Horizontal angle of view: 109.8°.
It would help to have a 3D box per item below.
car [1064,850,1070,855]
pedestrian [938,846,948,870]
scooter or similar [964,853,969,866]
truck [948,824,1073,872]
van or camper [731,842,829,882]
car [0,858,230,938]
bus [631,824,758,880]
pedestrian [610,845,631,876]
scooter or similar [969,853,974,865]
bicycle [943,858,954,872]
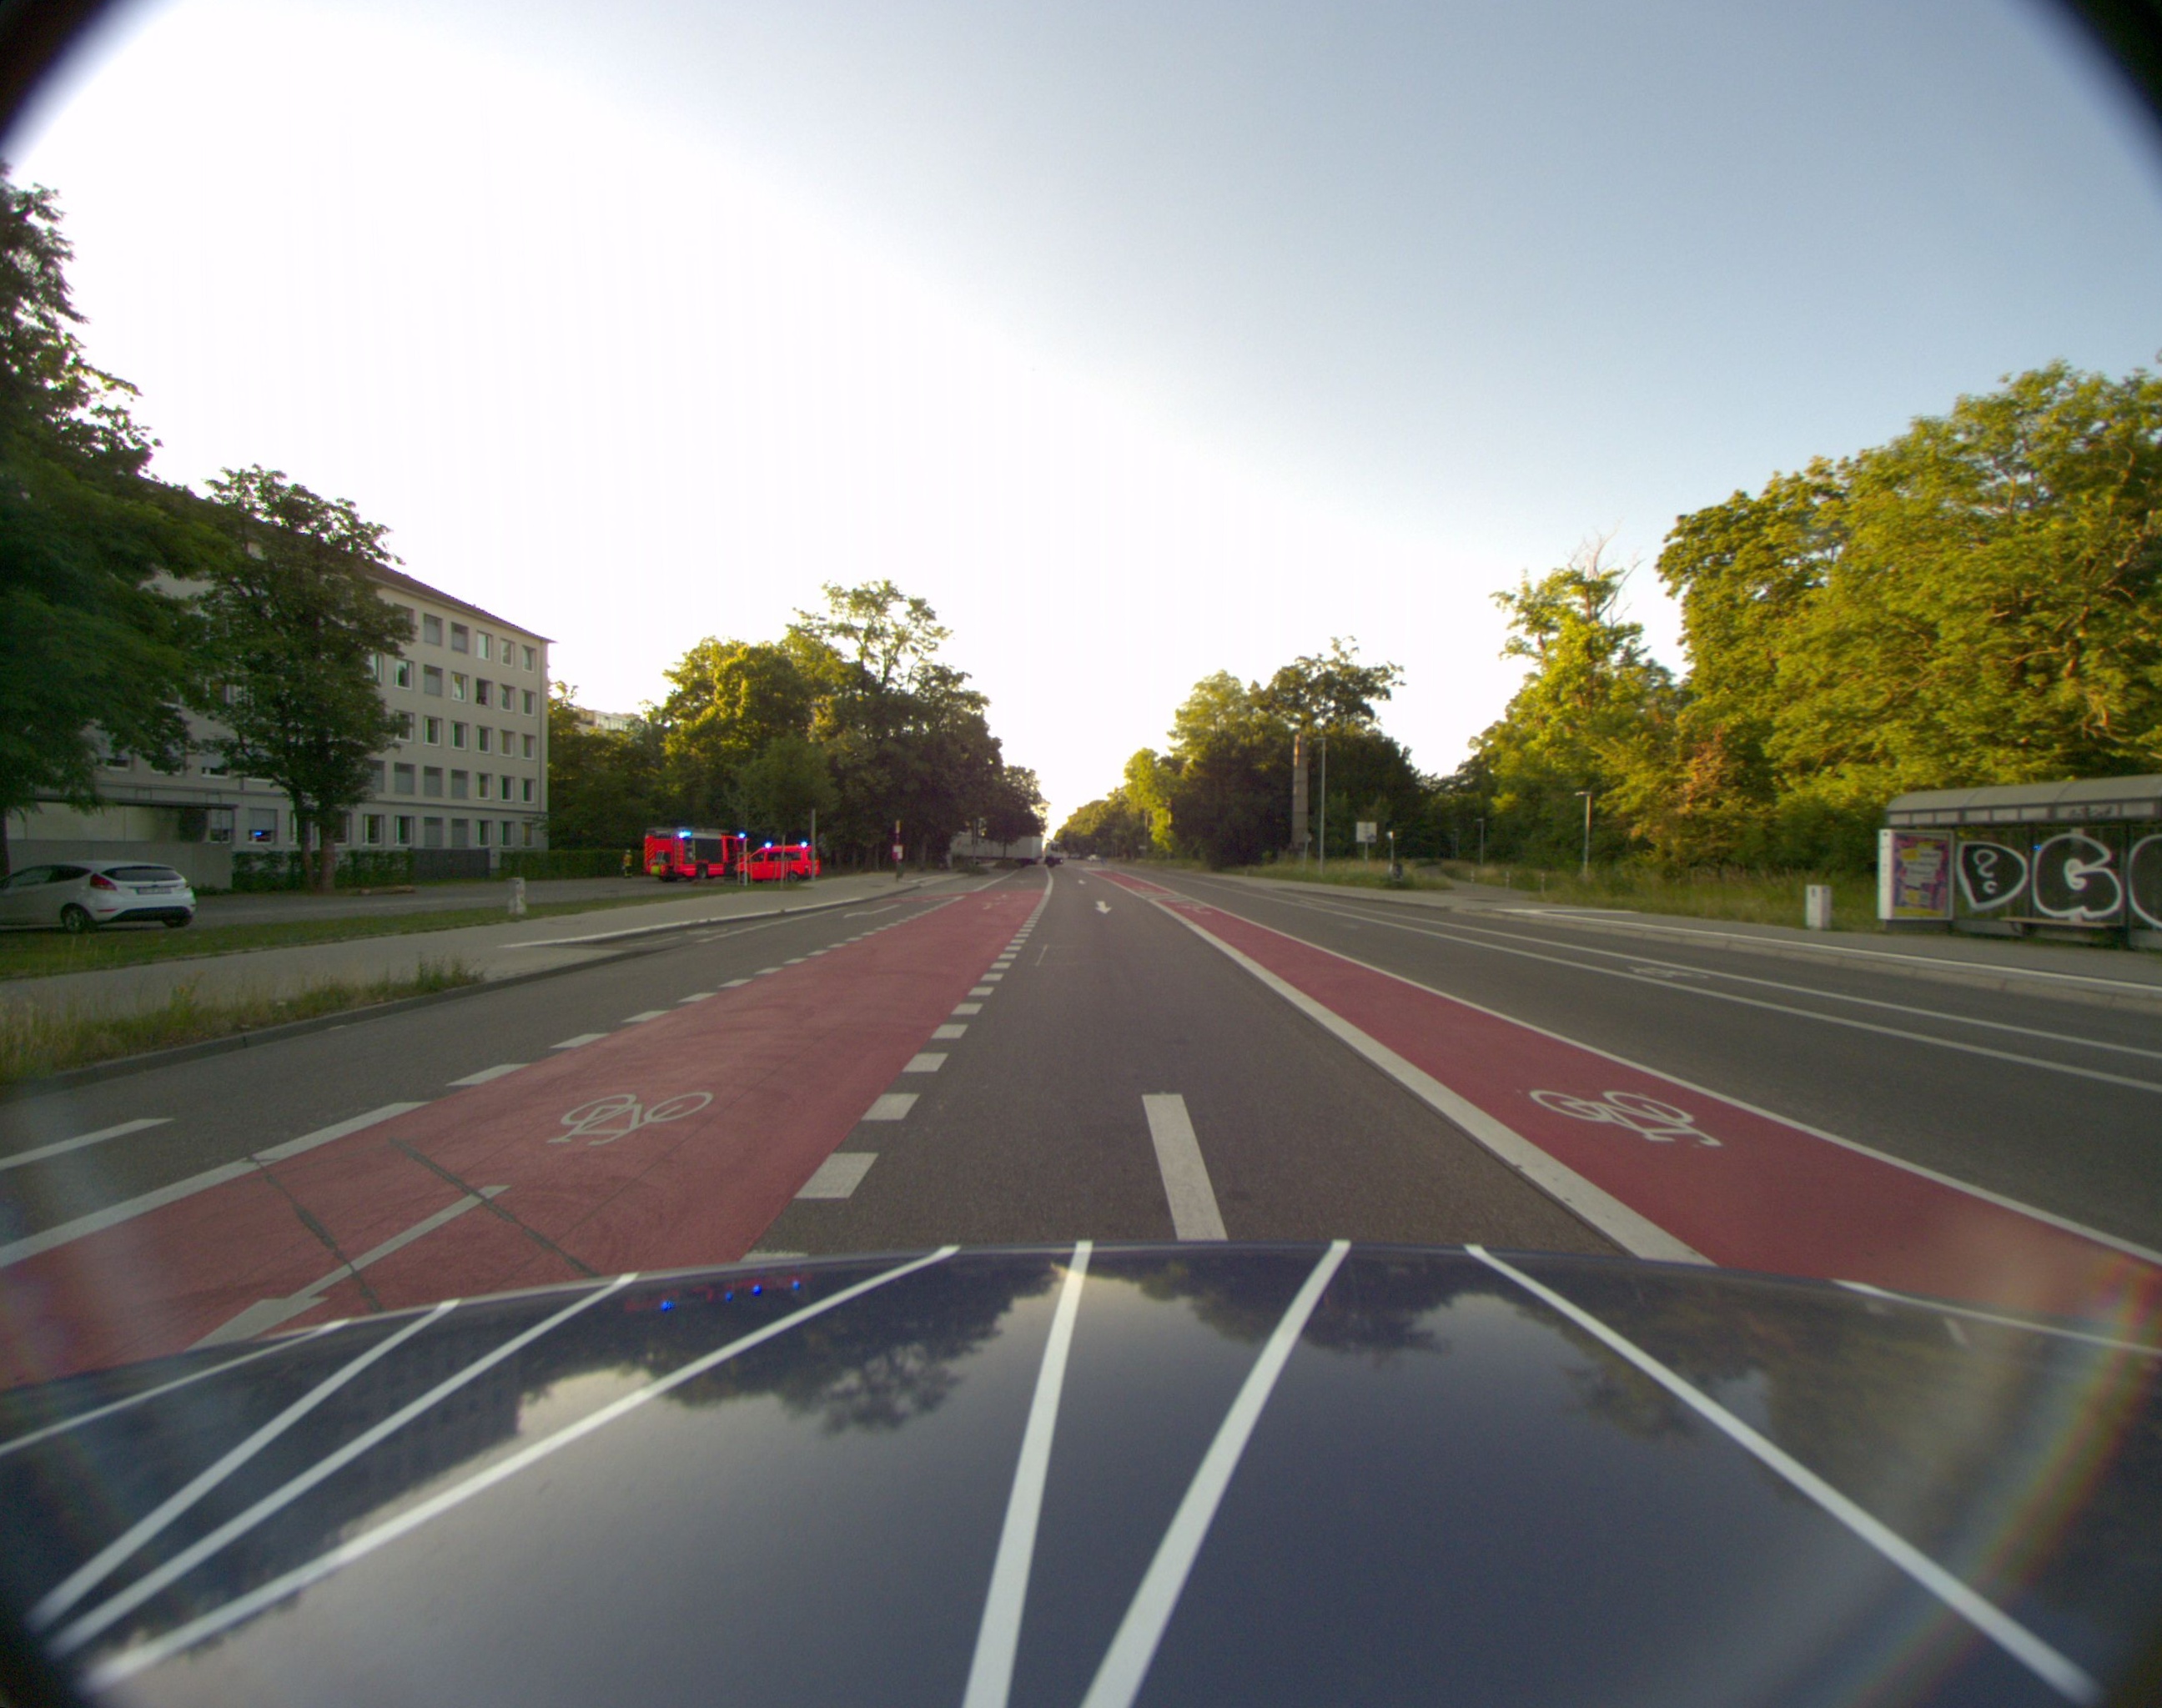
[{"bbox_3d":[-4.558,-0.449,246.531,1.851,1.406,4.180,0,0,1],"label":"car"},{"bbox_3d":[-11.822,0.318,65.072,0.726,2.002,0.694,0,1,-19],"label":"pedestrian"},{"bbox_3d":[-12.221,0.581,81.305,0.483,1.274,1.230,2,0,-8],"label":"scooter or similar"},{"bbox_3d":[-8.823,-0.766,94.698,15.044,5.542,5.169,0,1,27],"label":"truck"},{"bbox_3d":[-17.696,0.484,44.789,4.822,2.232,2.296,-1,1,9],"label":"van or camper"},{"bbox_3d":[-20.929,0.886,16.015,3.996,1.528,1.912,-1,1,4],"label":"car"},{"bbox_3d":[-23.688,-0.143,47.193,2.993,3.177,7.968,-1,0,8],"label":"bus"},{"bbox_3d":[-29.933,0.431,49.370,0.772,2.002,0.826,0,1,9],"label":"pedestrian"},{"bbox_3d":[-11.961,0.582,83.158,0.483,1.274,1.139,2,0,-8],"label":"scooter or similar"},{"bbox_3d":[-11.338,0.951,65.088,0.833,1.091,1.966,-2,1,-12],"label":"bicycle"}]
